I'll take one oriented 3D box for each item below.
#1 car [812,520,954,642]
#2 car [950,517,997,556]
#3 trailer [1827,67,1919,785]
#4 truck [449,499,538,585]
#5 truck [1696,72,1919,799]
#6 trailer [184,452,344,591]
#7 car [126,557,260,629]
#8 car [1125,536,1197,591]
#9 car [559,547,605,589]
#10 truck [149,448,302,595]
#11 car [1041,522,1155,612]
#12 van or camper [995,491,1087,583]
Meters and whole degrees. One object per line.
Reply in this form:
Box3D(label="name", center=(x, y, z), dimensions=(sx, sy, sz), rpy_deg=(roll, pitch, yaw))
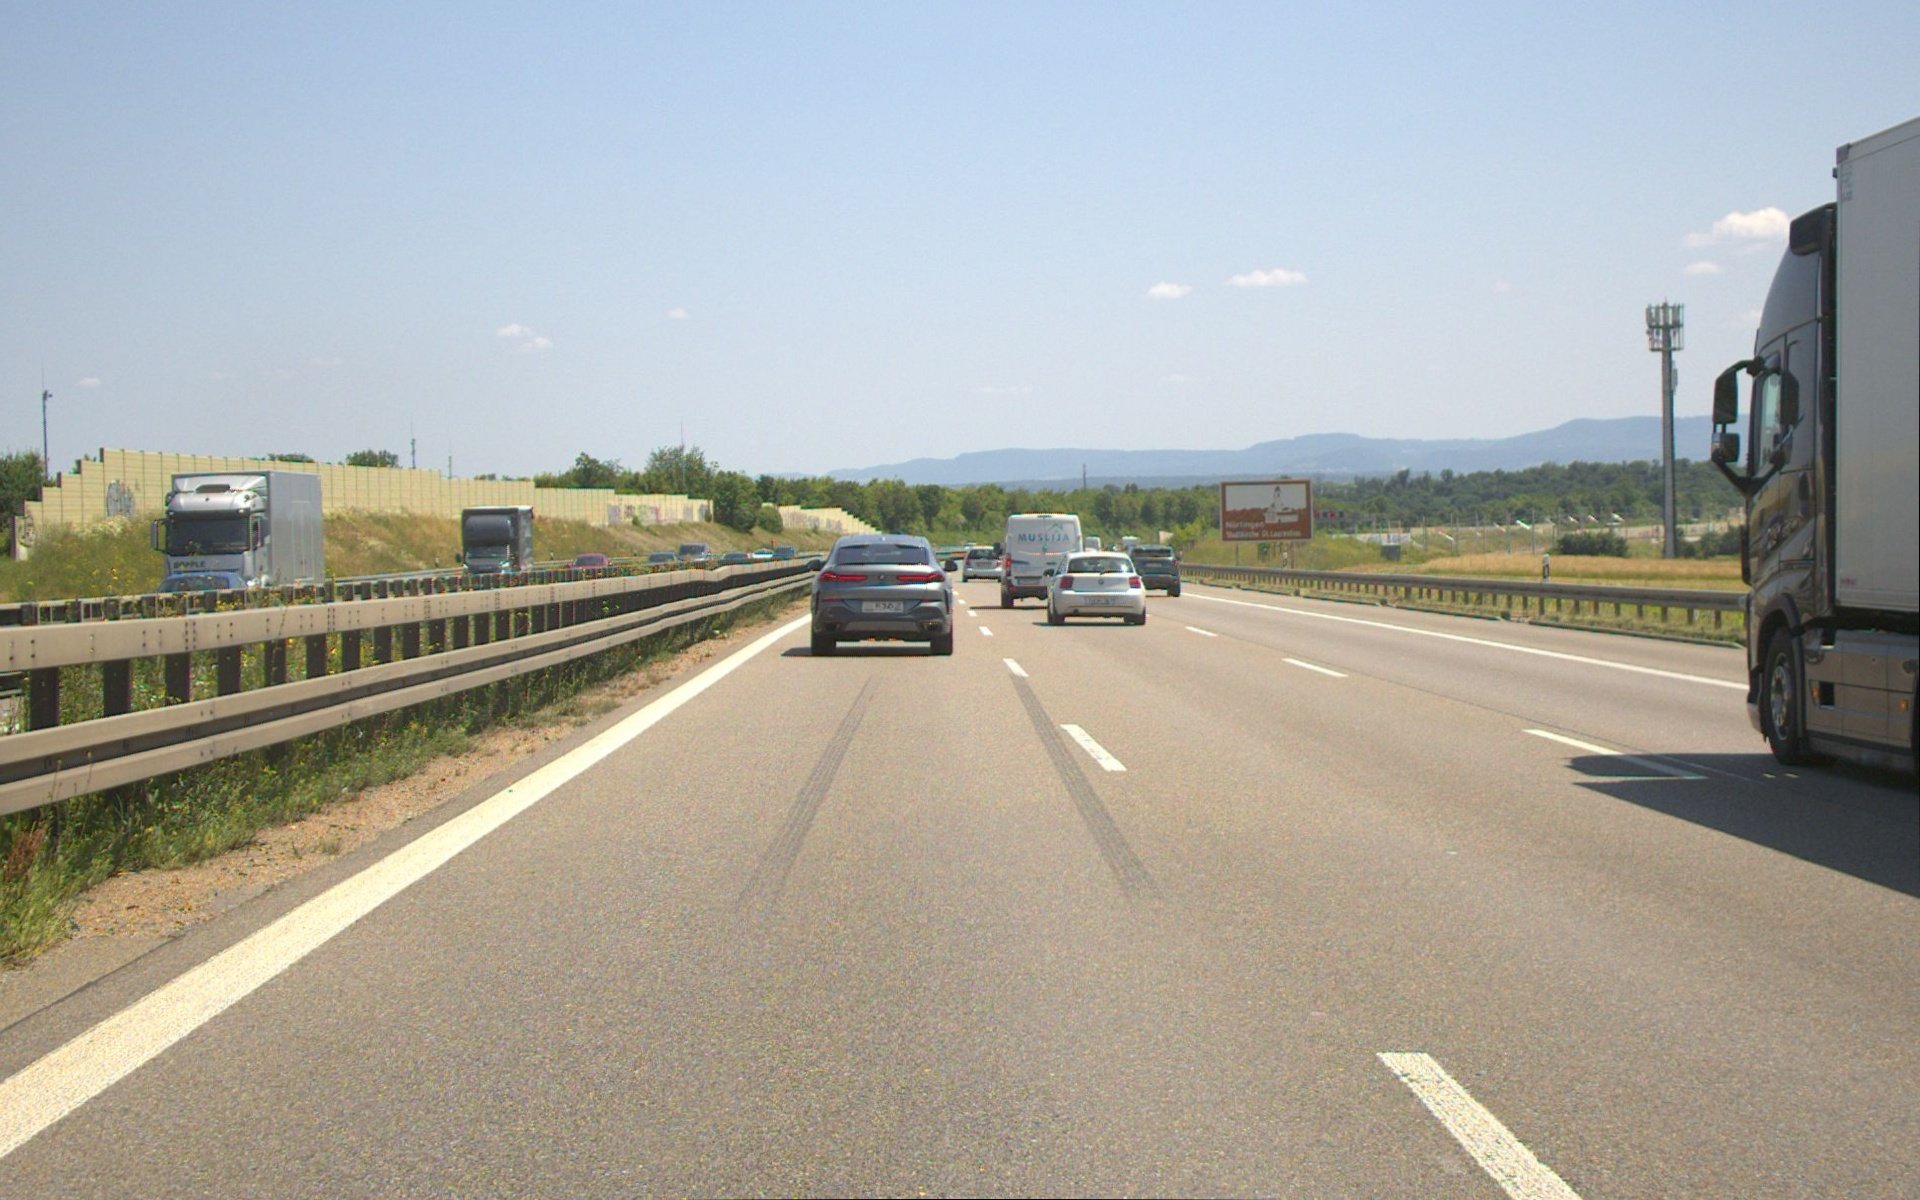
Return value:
Box3D(label="car", center=(-1.128, -0.302, 48.752), dimensions=(1.851, 1.658, 3.735), rpy_deg=(0, 1, -4))
Box3D(label="car", center=(0.578, -2.774, 150.109), dimensions=(1.993, 1.677, 4.000), rpy_deg=(0, 1, -1))
Box3D(label="trailer", center=(7.109, -0.900, 15.186), dimensions=(2.943, 4.183, 13.597), rpy_deg=(0, 1, -1))
Box3D(label="truck", center=(-20.057, -2.540, 148.279), dimensions=(2.896, 3.551, 10.455), rpy_deg=(0, 1, -3))
Box3D(label="truck", center=(7.036, -0.988, 21.768), dimensions=(2.979, 4.213, 7.688), rpy_deg=(0, 1, -1))
Box3D(label="trailer", center=(-18.917, -2.134, 93.971), dimensions=(2.693, 3.613, 8.615), rpy_deg=(0, 1, -1))
Box3D(label="car", center=(-13.966, -0.144, 62.820), dimensions=(1.737, 1.221, 4.286), rpy_deg=(0, 1, -4))
Box3D(label="car", center=(6.350, -1.165, 109.037), dimensions=(1.993, 1.677, 4.000), rpy_deg=(0, 1, -1))
Box3D(label="car", center=(-15.779, -1.350, 143.631), dimensions=(1.547, 1.658, 4.229), rpy_deg=(0, 1, -2))
Box3D(label="truck", center=(-18.874, -2.022, 88.674), dimensions=(2.739, 3.666, 5.898), rpy_deg=(0, 1, -1))
Box3D(label="car", center=(2.641, -0.662, 66.639), dimensions=(1.993, 1.677, 4.000), rpy_deg=(0, 1, -1))
Box3D(label="van or camper", center=(2.005, -1.594, 86.518), dimensions=(2.110, 2.204, 5.266), rpy_deg=(0, 1, -1))
